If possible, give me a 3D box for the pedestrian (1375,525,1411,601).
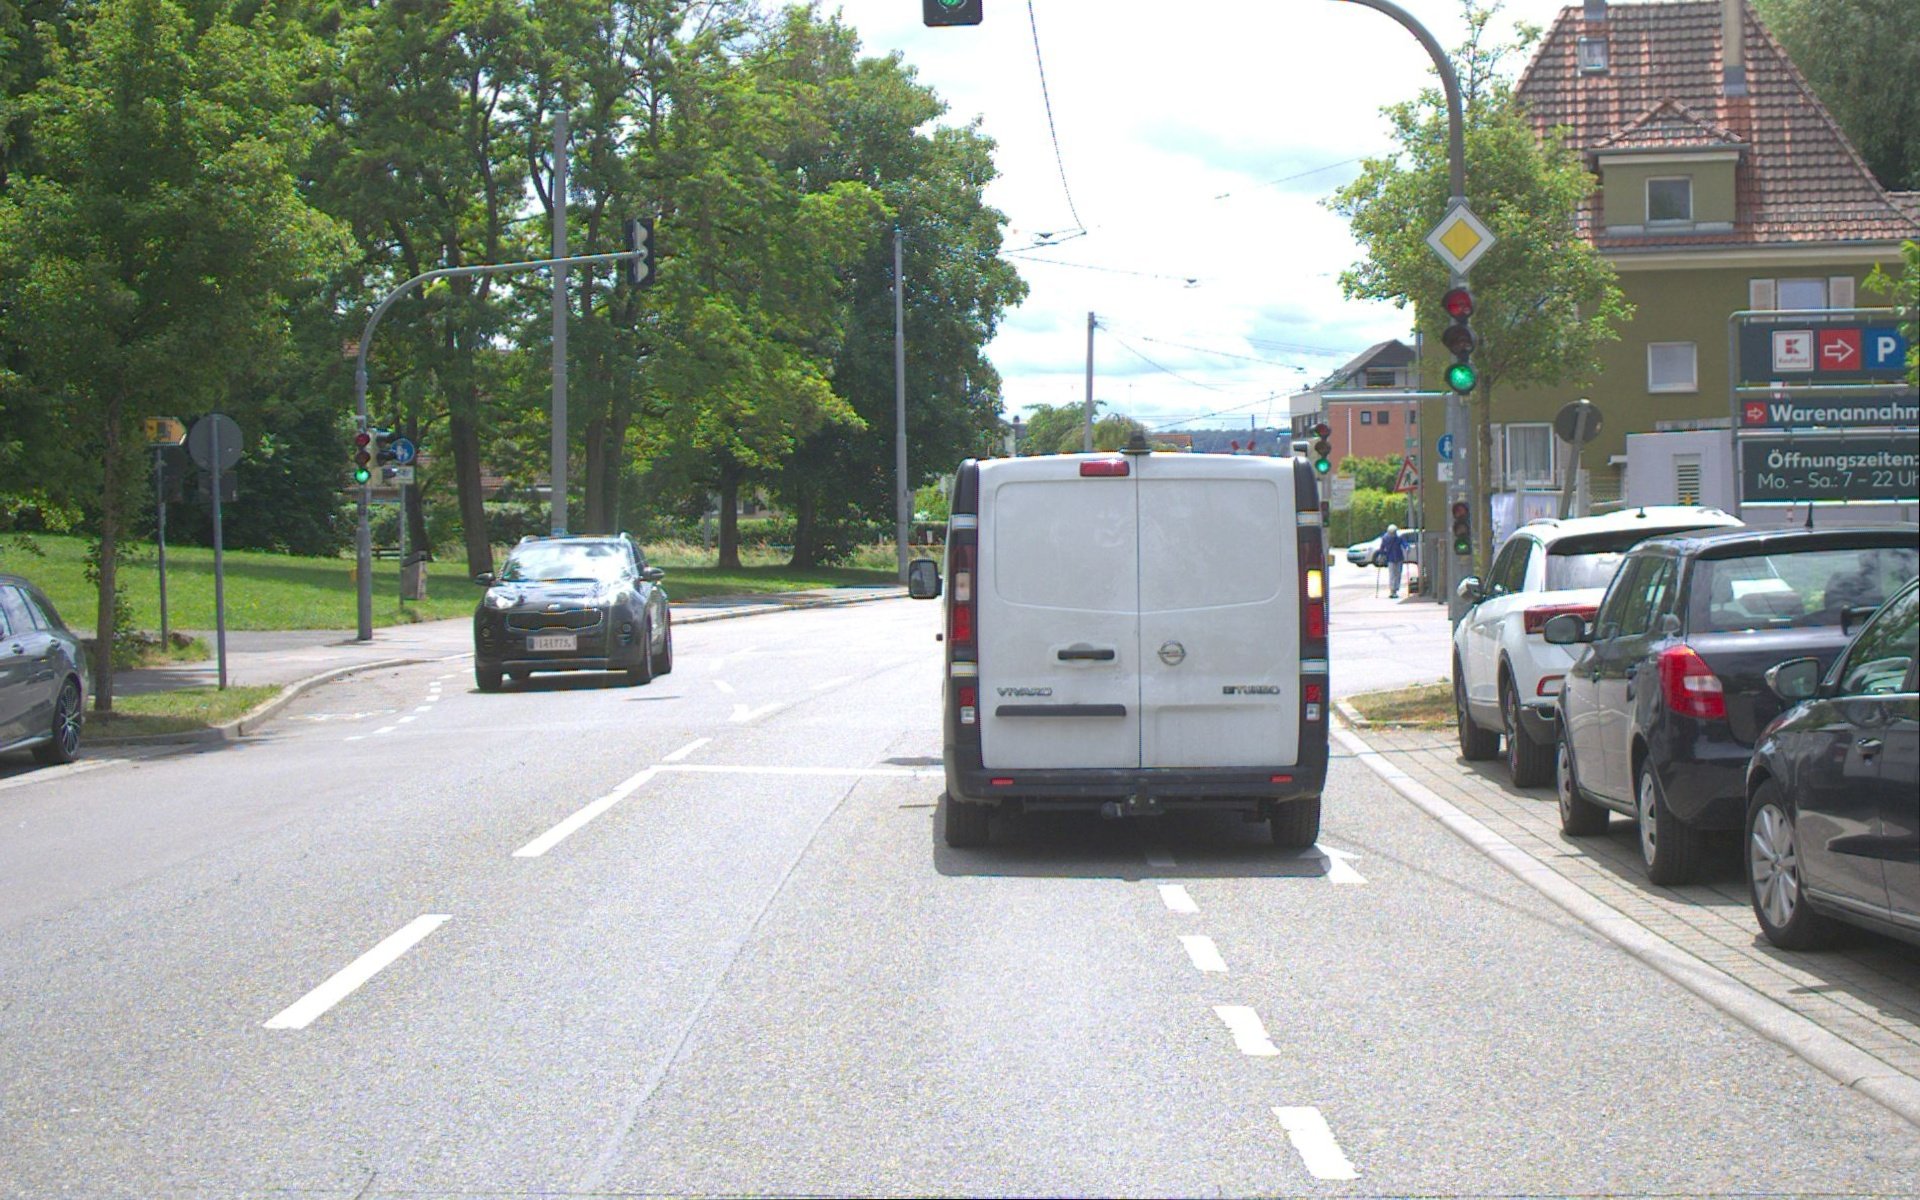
[{"bbox_3d":[9.029,-0.770,71.659,0.678,1.548,0.835,-2,-1,7],"label":"pedestrian"}]

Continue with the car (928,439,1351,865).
[{"bbox_3d":[0.846,0.196,18.404,1.939,1.954,4.833,1,1,0],"label":"car"}]

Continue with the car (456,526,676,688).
[{"bbox_3d":[-4.291,0.032,37.994,1.833,1.611,4.152,-2,1,1],"label":"car"}]

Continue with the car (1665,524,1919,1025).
[{"bbox_3d":[3.716,0.481,10.849,1.764,1.472,4.936,-4,1,-1],"label":"car"}]

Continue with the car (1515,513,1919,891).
[{"bbox_3d":[3.662,0.374,15.876,1.568,1.488,4.000,-2,1,1],"label":"car"}]

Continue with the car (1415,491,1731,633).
[{"bbox_3d":[8.230,-0.525,46.422,3.988,1.601,1.608,-4,1,6],"label":"car"}]

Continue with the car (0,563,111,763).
[{"bbox_3d":[-7.500,0.430,24.557,1.695,1.361,4.686,1,1,0],"label":"car"}]

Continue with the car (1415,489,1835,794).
[{"bbox_3d":[4.023,0.204,21.493,1.737,1.611,4.387,-3,1,1],"label":"car"}]
